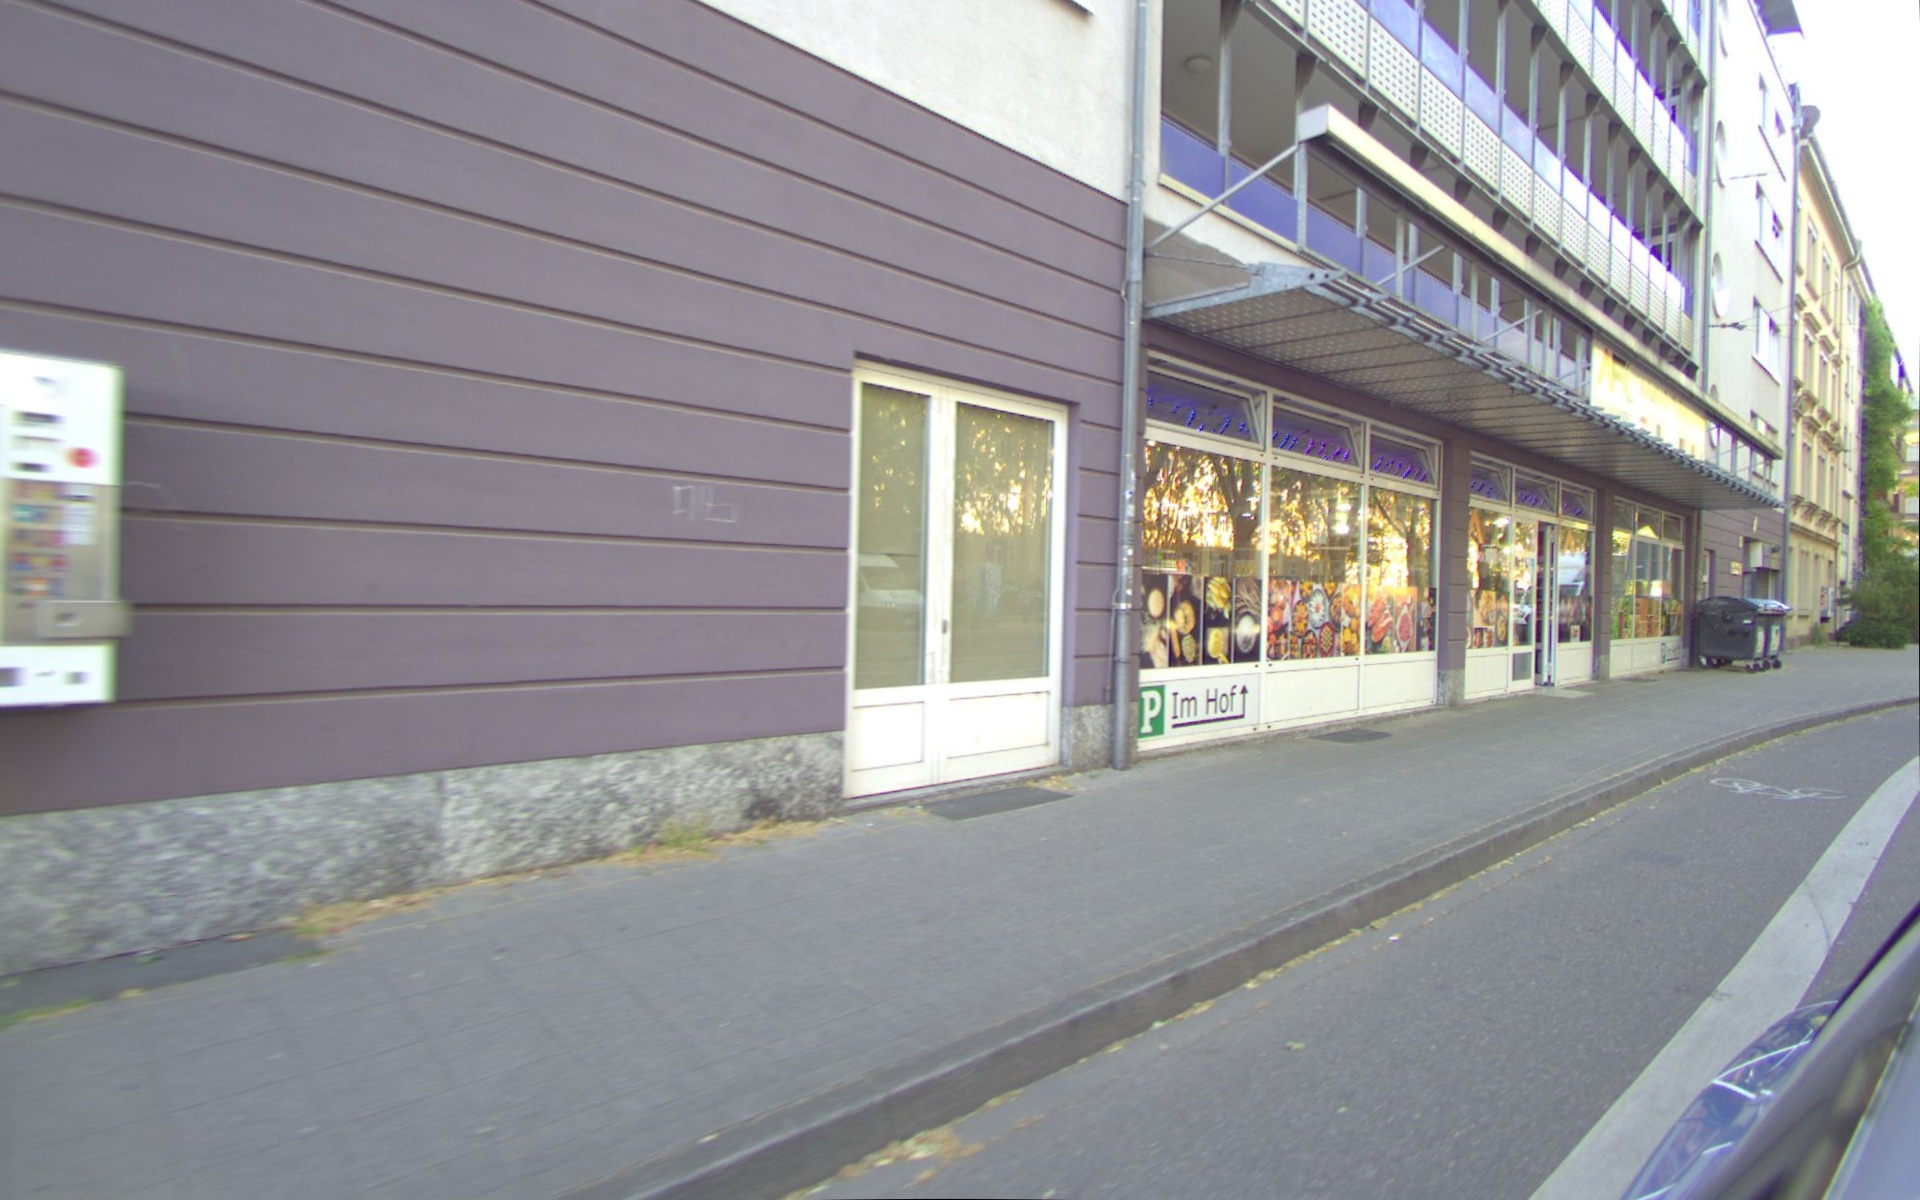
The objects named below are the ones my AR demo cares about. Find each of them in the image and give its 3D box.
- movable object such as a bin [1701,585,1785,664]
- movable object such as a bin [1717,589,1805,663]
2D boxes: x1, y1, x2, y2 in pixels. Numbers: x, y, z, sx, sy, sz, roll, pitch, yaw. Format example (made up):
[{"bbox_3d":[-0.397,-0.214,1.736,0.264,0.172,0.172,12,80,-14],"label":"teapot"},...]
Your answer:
[{"bbox_3d":[15.250,0.457,19.701,1.274,1.465,1.068,0,1,-42],"label":"movable object such as a bin"},{"bbox_3d":[16.604,0.514,20.982,1.282,1.464,1.123,0,1,-37],"label":"movable object such as a bin"}]
